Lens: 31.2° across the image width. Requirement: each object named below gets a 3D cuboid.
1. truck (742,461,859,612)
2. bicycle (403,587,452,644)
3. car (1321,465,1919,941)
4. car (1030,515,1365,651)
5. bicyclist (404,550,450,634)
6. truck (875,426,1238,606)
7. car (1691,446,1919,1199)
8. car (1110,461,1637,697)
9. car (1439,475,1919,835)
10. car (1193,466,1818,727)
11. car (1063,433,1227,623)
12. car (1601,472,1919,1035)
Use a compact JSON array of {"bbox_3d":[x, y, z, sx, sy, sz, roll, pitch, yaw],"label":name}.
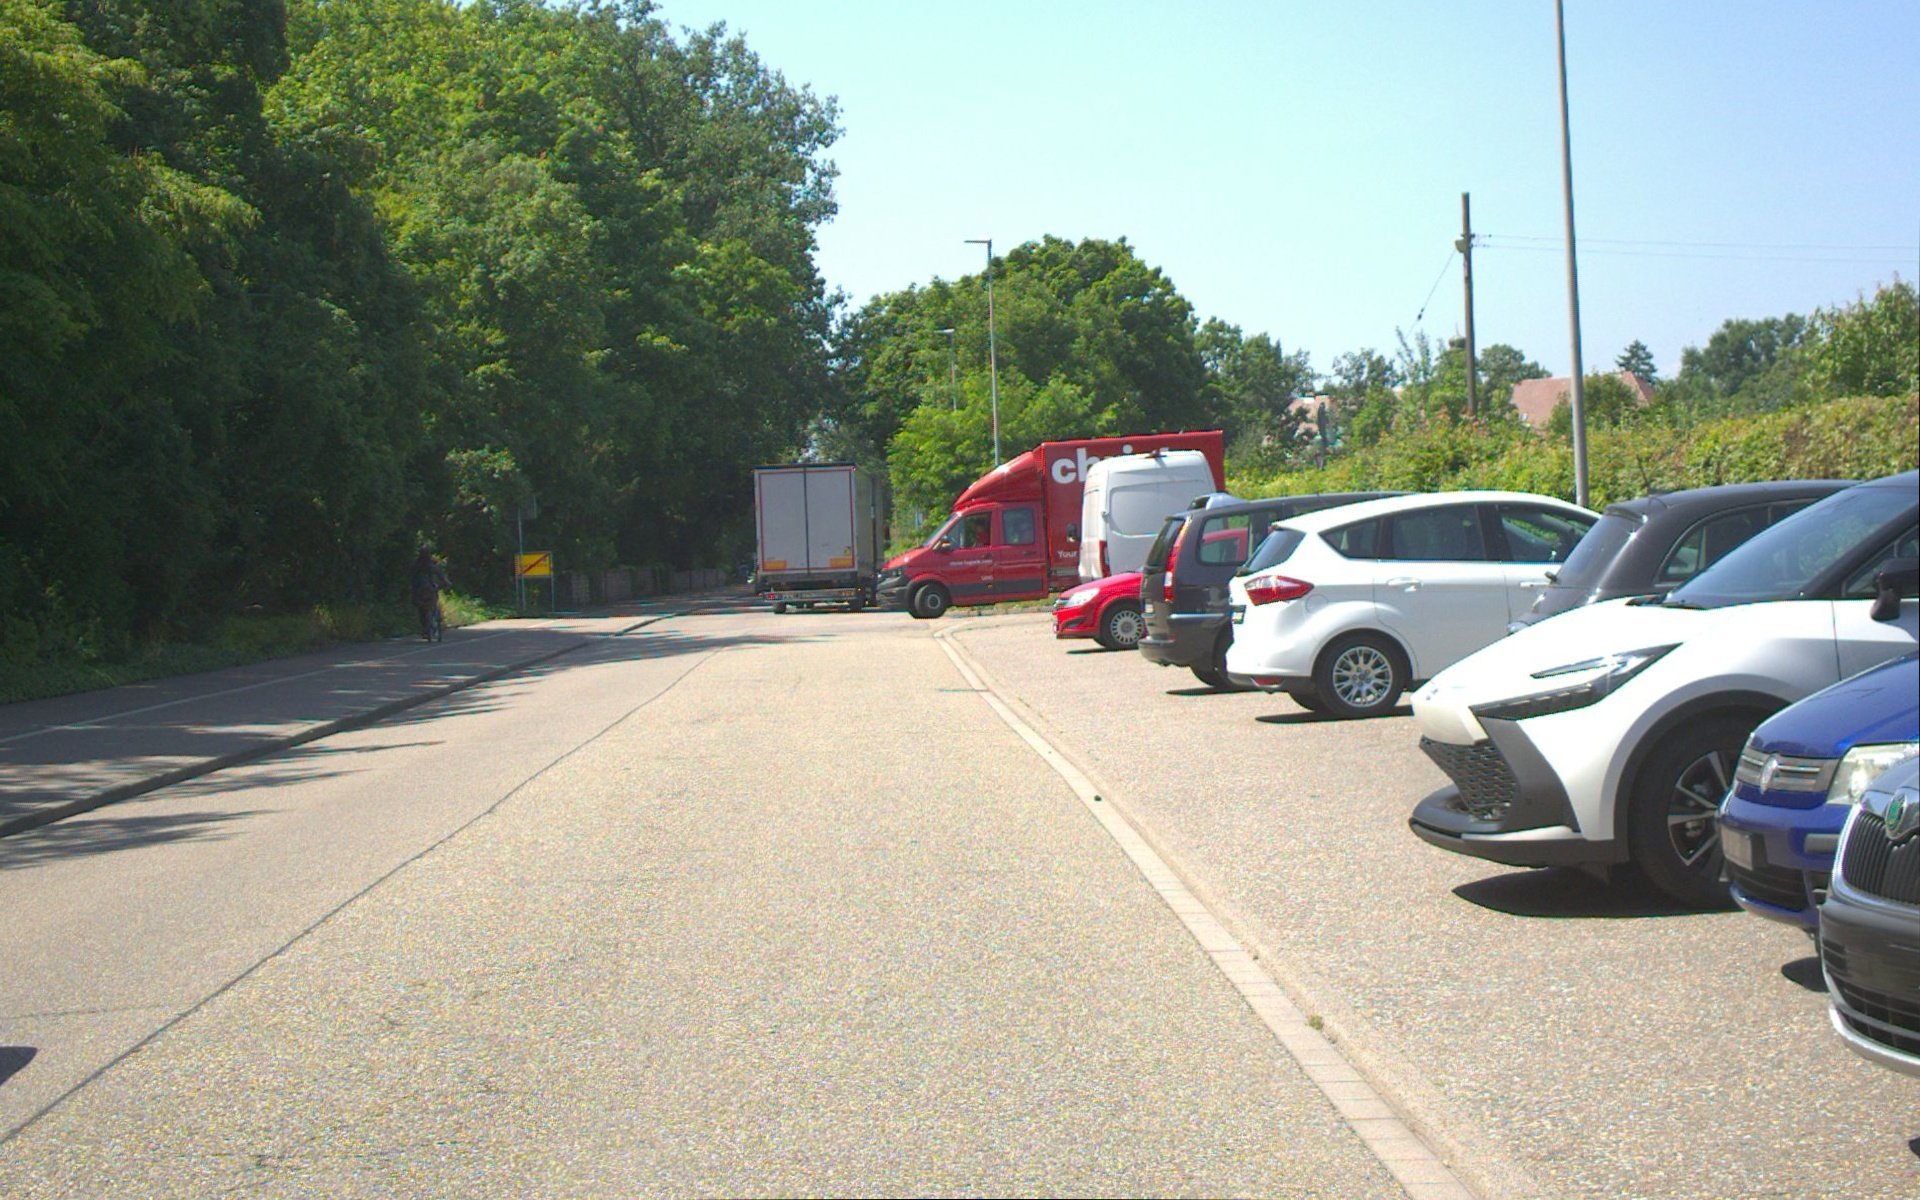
[{"bbox_3d":[-4.185,-1.686,92.700,2.733,3.733,13.246,-1,1,-1],"label":"truck"},{"bbox_3d":[-10.199,0.292,65.907,0.561,1.023,1.839,-2,1,2],"label":"bicycle"},{"bbox_3d":[3.632,0.260,13.483,3.962,1.517,1.865,-6,1,-7],"label":"car"},{"bbox_3d":[3.076,-0.240,45.006,4.053,1.429,1.836,-5,1,-4],"label":"car"},{"bbox_3d":[-10.219,-0.159,65.937,0.648,1.559,0.837,-2,1,2],"label":"bicyclist"},{"bbox_3d":[1.942,-1.719,69.359,7.137,3.428,2.330,-1,4,2],"label":"truck"},{"bbox_3d":[3.894,0.312,7.695,3.959,1.634,1.664,-6,1,-7],"label":"car"},{"bbox_3d":[3.812,-0.197,32.157,4.452,1.798,1.953,-5,1,-6],"label":"car"},{"bbox_3d":[4.145,0.192,16.549,3.387,1.498,1.588,-4,2,1],"label":"car"},{"bbox_3d":[4.052,-0.043,25.951,4.275,1.572,1.766,-5,1,-4],"label":"car"},{"bbox_3d":[2.905,-1.160,55.496,1.954,2.724,7.168,-4,1,-1],"label":"car"},{"bbox_3d":[3.952,0.285,10.624,3.452,1.522,1.540,-6,1,-7],"label":"car"}]
